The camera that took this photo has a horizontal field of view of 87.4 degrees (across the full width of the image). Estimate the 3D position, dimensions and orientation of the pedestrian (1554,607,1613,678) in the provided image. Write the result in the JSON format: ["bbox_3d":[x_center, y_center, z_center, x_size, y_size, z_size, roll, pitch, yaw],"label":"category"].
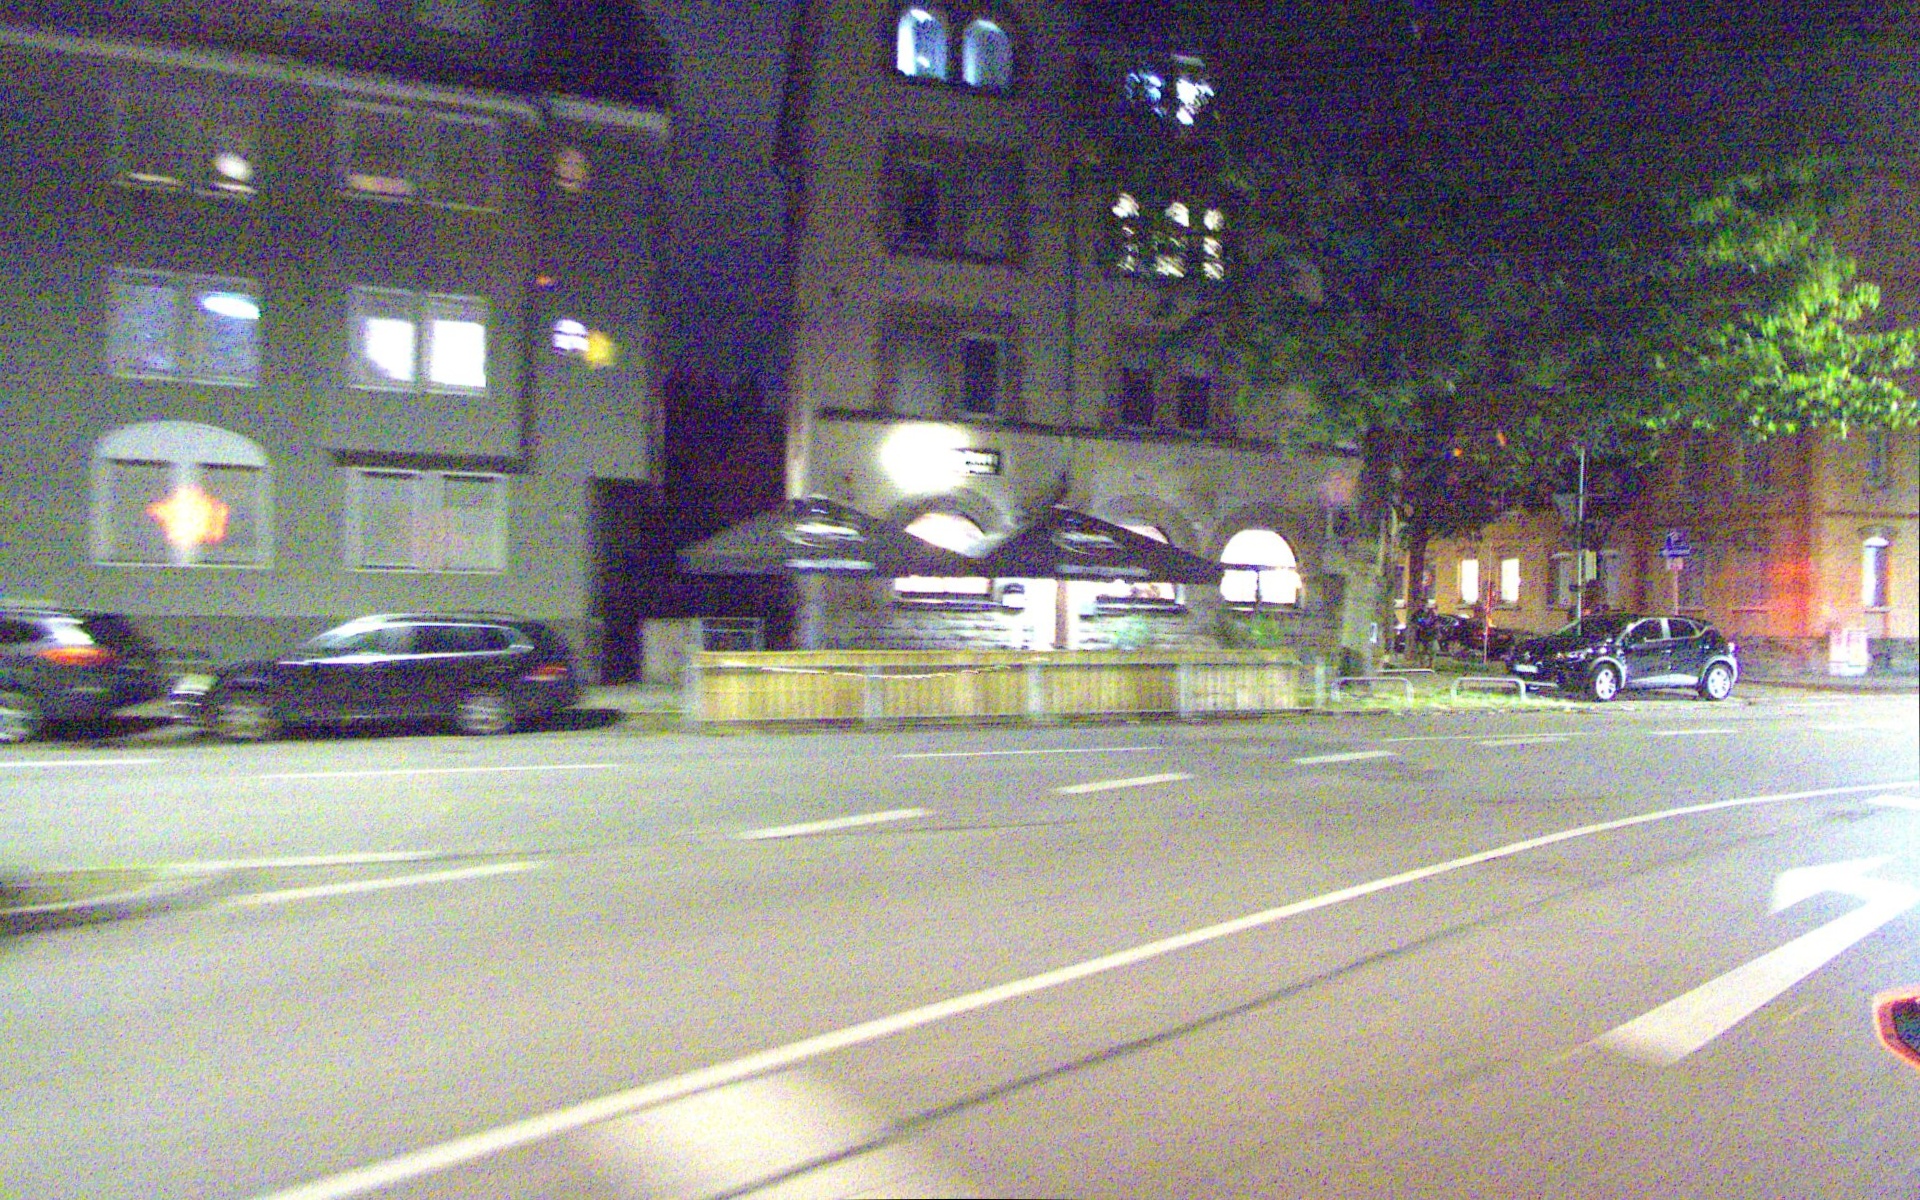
[{"bbox_3d":[15.297,1.027,24.657,0.978,1.713,0.711,0,-1,-4],"label":"pedestrian"}]

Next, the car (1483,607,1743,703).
[{"bbox_3d":[12.250,0.989,18.938,3.954,1.618,1.887,1,1,-13],"label":"car"}]

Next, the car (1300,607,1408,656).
[{"bbox_3d":[15.131,1.167,38.797,1.870,1.799,3.987,1,-1,-15],"label":"car"}]

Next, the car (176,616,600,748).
[{"bbox_3d":[-7.031,0.969,12.888,4.368,1.453,1.861,1,1,-15],"label":"car"}]

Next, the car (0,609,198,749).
[{"bbox_3d":[-11.836,0.868,11.630,4.397,1.499,1.861,1,0,-15],"label":"car"}]

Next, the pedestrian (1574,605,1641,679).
[{"bbox_3d":[15.265,0.985,23.698,1.103,1.713,0.711,0,-1,-4],"label":"pedestrian"}]

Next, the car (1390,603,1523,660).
[{"bbox_3d":[16.689,1.017,33.981,1.870,1.799,3.987,1,-1,-15],"label":"car"}]
